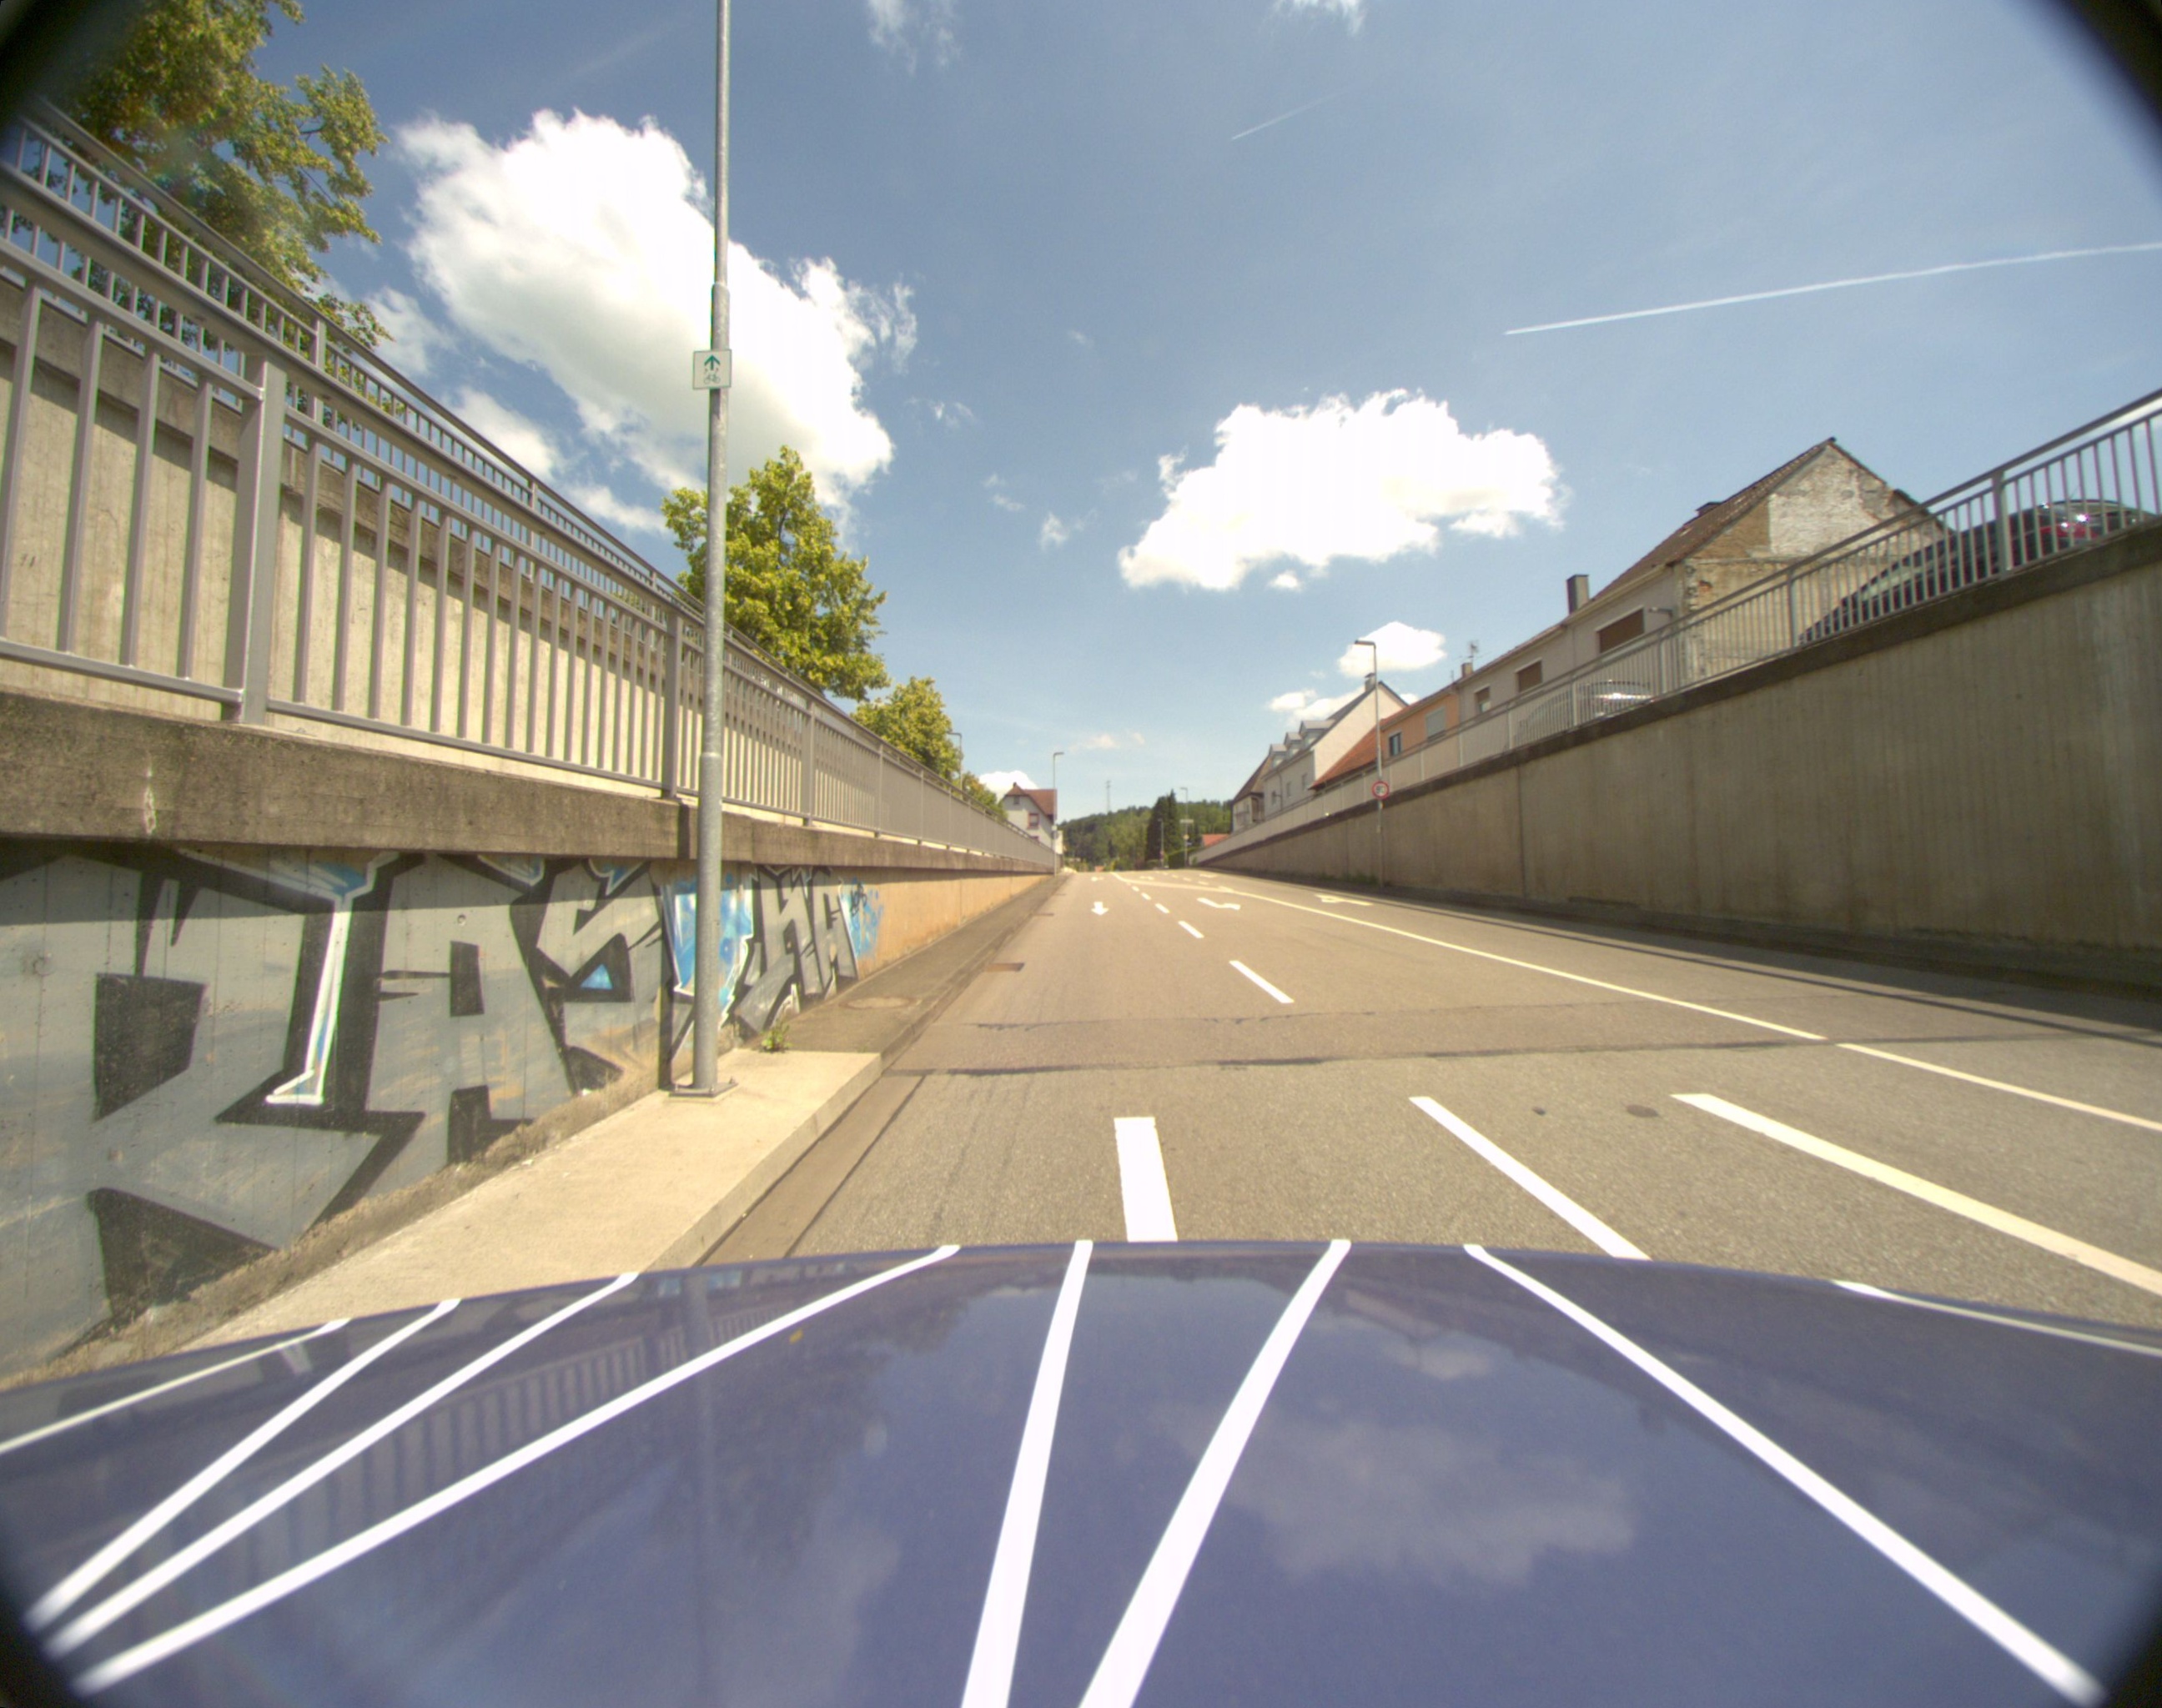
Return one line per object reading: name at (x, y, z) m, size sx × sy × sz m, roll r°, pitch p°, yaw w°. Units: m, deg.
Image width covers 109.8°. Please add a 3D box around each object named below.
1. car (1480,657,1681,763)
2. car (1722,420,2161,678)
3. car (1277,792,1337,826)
car at (11.637, -3.296, 18.138) m, size 1.803 × 1.515 × 4.394 m, roll -1°, pitch -2°, yaw -1°
car at (11.556, -3.845, 10.437) m, size 1.827 × 1.695 × 4.223 m, roll -1°, pitch -2°, yaw -1°
car at (11.990, -2.354, 40.621) m, size 1.790 × 1.396 × 4.394 m, roll -1°, pitch -2°, yaw -1°
